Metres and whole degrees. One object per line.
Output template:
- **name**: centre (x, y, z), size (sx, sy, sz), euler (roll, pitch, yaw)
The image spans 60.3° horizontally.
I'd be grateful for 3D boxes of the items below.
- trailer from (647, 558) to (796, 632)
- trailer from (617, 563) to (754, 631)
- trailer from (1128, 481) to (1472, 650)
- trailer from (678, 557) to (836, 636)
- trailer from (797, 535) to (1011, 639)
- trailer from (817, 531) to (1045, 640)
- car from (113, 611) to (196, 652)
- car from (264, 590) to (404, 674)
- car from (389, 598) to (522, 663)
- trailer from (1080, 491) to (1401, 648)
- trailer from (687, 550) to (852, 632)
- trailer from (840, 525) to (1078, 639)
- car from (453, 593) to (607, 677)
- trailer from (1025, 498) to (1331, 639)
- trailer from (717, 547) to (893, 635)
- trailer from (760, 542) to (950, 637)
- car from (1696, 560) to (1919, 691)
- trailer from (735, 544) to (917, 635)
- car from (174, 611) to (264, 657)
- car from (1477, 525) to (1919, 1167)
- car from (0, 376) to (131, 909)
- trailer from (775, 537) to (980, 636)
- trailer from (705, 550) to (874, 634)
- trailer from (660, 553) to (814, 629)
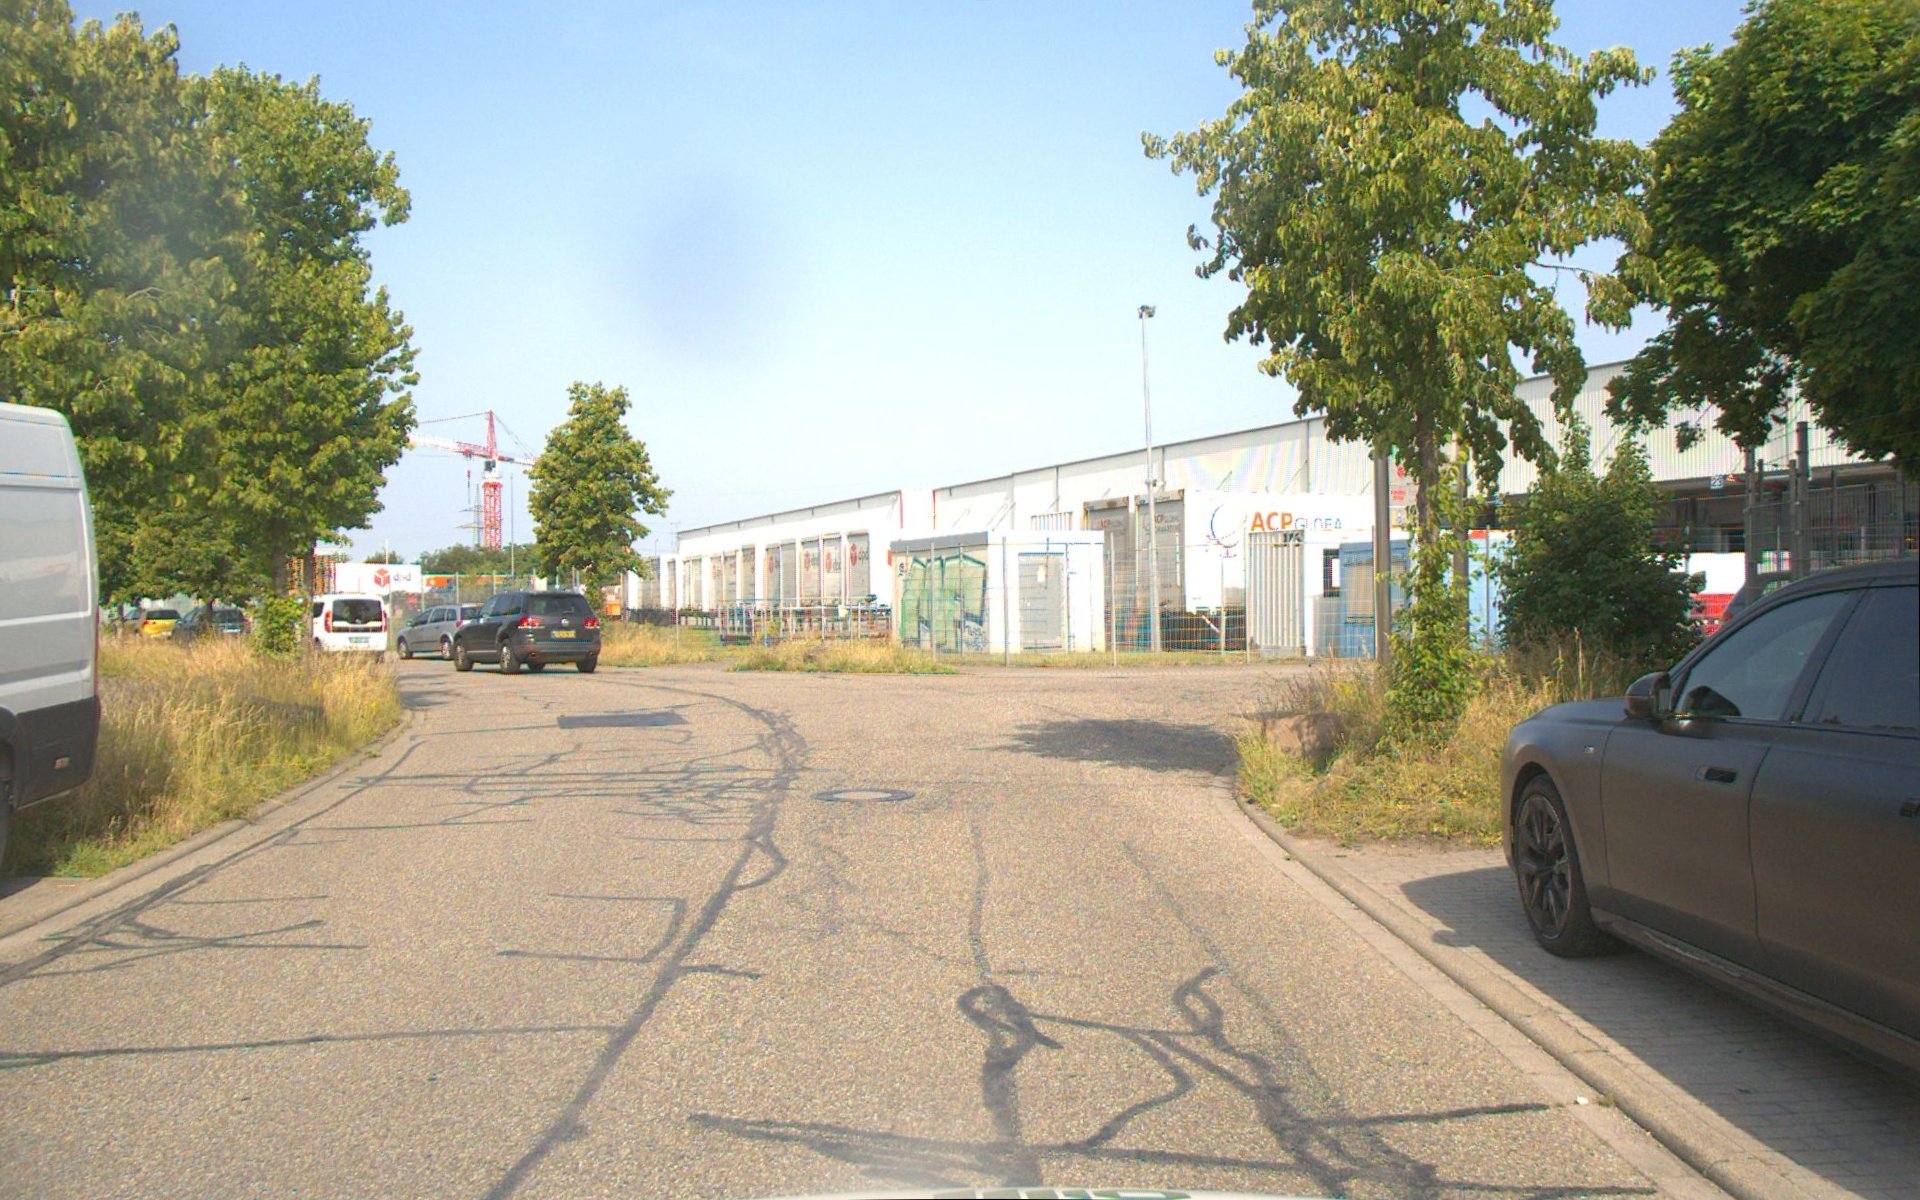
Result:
- **trailer**: centre (-13.466, -0.257, 93.462), size (7.860, 3.962, 2.754), euler (1, 0, -25)
- **trailer**: centre (-16.862, -0.156, 101.698), size (7.860, 3.962, 2.721), euler (1, 0, -25)
- **trailer**: centre (8.708, -0.849, 42.197), size (8.418, 3.962, 2.756), euler (-1, -2, -23)
- **trailer**: centre (-10.746, -0.151, 87.804), size (7.860, 3.962, 2.754), euler (1, 0, -25)
- **trailer**: centre (-2.234, -0.476, 66.811), size (8.200, 3.962, 2.754), euler (1, 0, -25)
- **trailer**: centre (-1.074, -0.487, 63.965), size (8.426, 3.962, 2.754), euler (1, 0, -25)
- **car**: centre (-31.675, 1.238, 65.007), size (1.708, 1.480, 4.119), euler (-3, 2, -44)
- **car**: centre (-17.180, 0.881, 45.273), size (2.110, 2.147, 4.553), euler (-1, -1, -42)
- **car**: centre (-14.206, 0.849, 46.482), size (1.791, 1.654, 4.378), euler (-3, 2, -43)
- **trailer**: centre (7.679, -0.869, 45.002), size (8.422, 3.961, 2.756), euler (-2, 0, -23)
- **trailer**: centre (-9.704, -0.410, 84.427), size (7.860, 3.962, 2.754), euler (1, 0, -25)
- **trailer**: centre (0.000, -0.606, 61.101), size (8.426, 3.962, 2.754), euler (1, 0, -25)
- **car**: centre (-9.036, 0.712, 34.568), size (1.865, 1.614, 4.064), euler (-1, 0, -34)
- **trailer**: centre (6.345, -0.859, 47.706), size (8.619, 3.827, 2.769), euler (0, -1, -25)
- **trailer**: centre (-7.343, -0.384, 78.688), size (7.860, 3.962, 2.754), euler (1, 0, -25)
- **trailer**: centre (-4.637, -0.422, 73.379), size (7.930, 3.962, 2.754), euler (1, 0, -25)
- **car**: centre (11.590, 0.321, 21.185), size (3.895, 1.550, 1.715), euler (-1, -3, -23)
- **trailer**: centre (-6.118, -0.429, 75.954), size (7.860, 3.962, 2.754), euler (1, 0, -25)
- **car**: centre (-27.435, 1.254, 61.209), size (1.708, 1.541, 3.937), euler (-4, 2, -45)
- **car**: centre (3.280, 0.575, 4.812), size (1.842, 1.601, 5.117), euler (-3, 0, -1)
- **car**: centre (-5.657, 0.204, 6.273), size (2.060, 2.640, 6.499), euler (1, 0, -4)
- **trailer**: centre (-3.436, -0.510, 69.605), size (8.200, 3.962, 2.754), euler (1, 0, -25)
- **trailer**: centre (-8.409, -0.357, 81.690), size (7.860, 3.962, 2.754), euler (1, 0, -25)
- **trailer**: centre (-12.177, -0.438, 90.440), size (7.860, 3.962, 2.754), euler (1, 0, -25)
